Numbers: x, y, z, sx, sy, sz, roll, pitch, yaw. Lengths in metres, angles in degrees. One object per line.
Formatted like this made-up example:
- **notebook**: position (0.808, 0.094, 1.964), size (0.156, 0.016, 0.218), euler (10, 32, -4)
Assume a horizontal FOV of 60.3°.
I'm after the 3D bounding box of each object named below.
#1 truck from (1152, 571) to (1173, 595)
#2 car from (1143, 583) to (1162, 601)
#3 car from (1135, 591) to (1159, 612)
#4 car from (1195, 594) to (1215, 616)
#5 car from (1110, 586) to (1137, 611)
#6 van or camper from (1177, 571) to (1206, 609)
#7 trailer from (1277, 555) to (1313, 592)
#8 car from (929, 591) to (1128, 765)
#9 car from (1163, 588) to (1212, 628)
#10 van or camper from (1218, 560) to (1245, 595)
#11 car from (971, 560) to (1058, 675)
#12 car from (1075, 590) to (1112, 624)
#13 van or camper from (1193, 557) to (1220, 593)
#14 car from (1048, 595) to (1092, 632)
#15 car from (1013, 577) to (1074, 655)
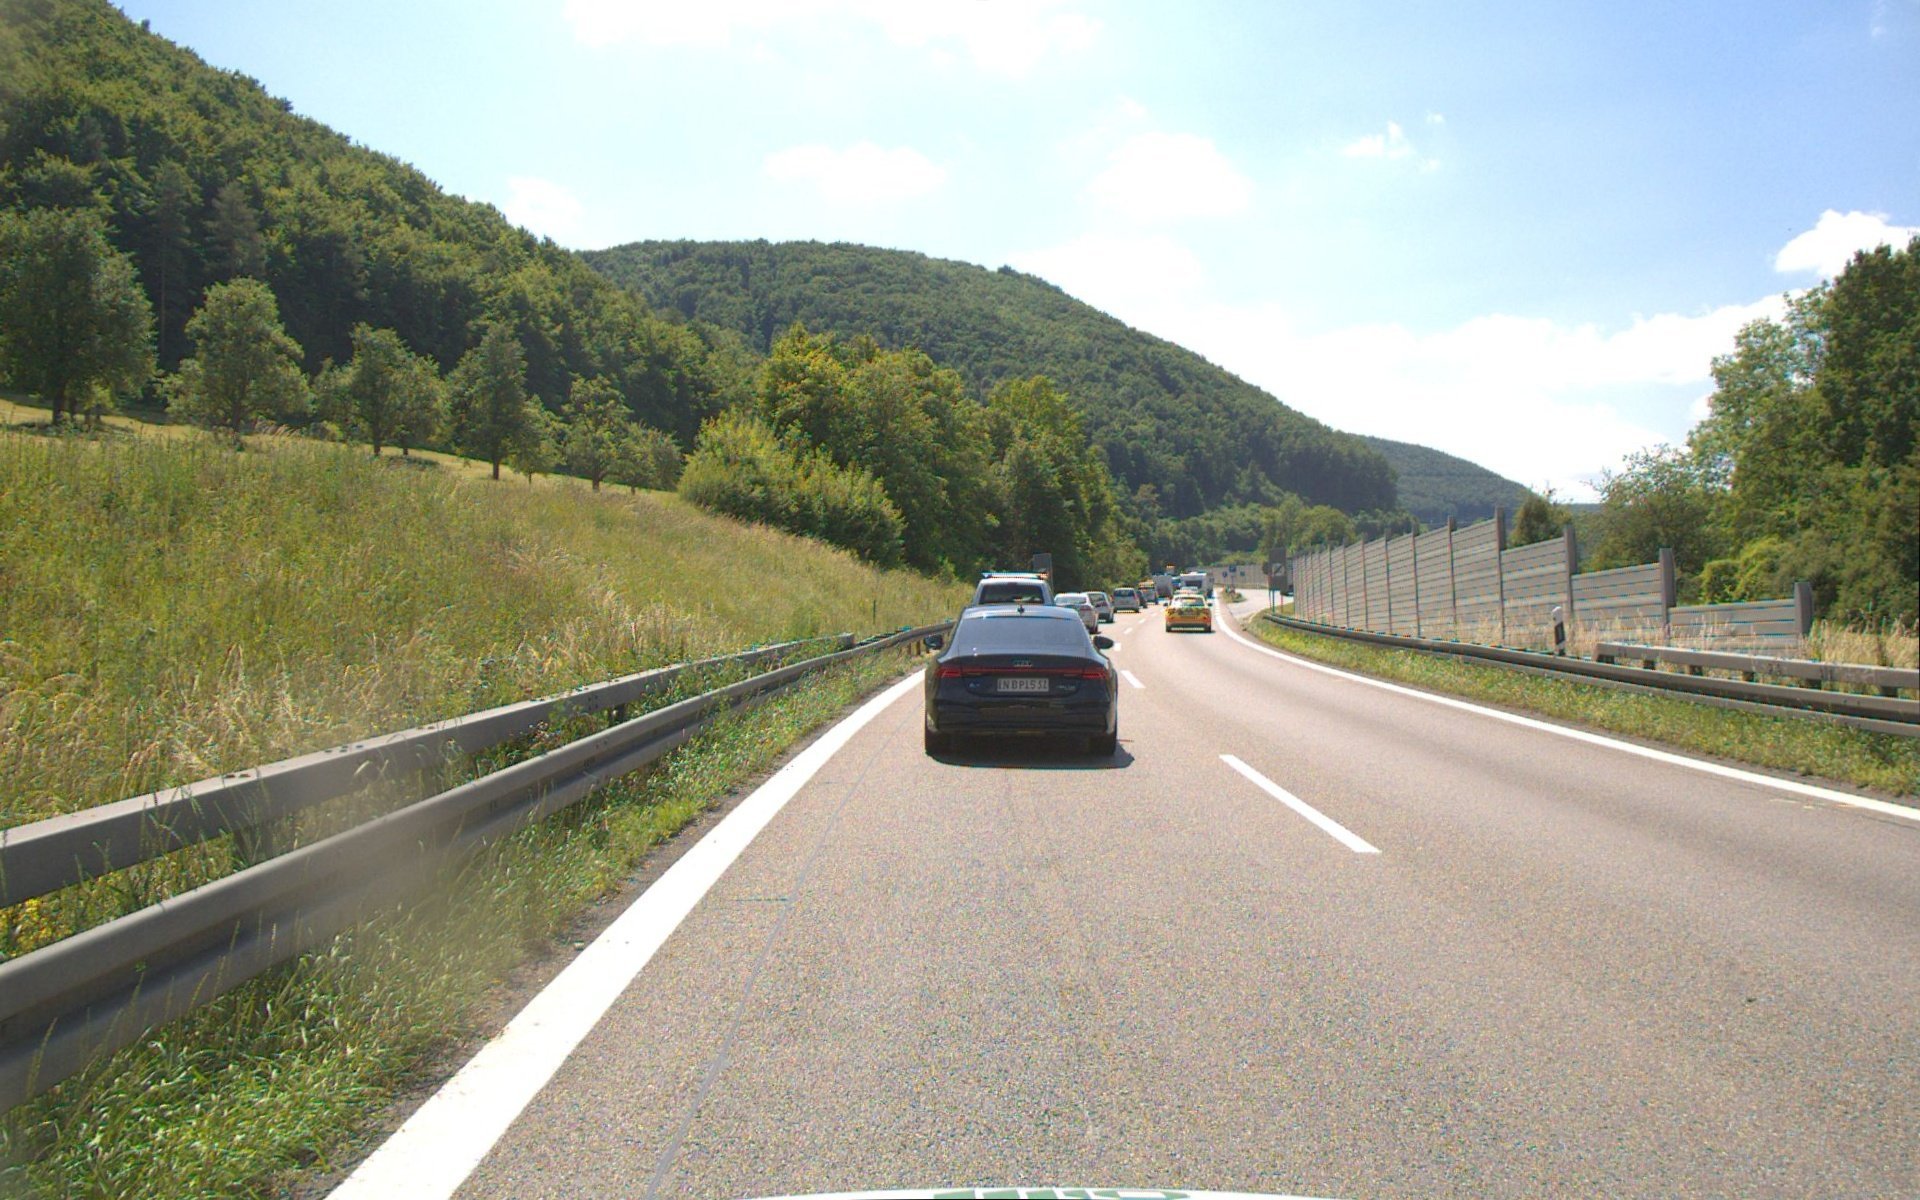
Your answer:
- **truck**: position (23.473, -1.999, 191.697), size (2.020, 2.651, 5.619), euler (2, 0, 10)
- **car**: position (17.546, -0.758, 150.436), size (1.488, 1.580, 3.517), euler (2, 0, 10)
- **car**: position (14.577, 0.120, 128.897), size (1.488, 1.580, 3.517), euler (2, 0, 11)
- **car**: position (18.915, 0.383, 127.505), size (1.456, 1.598, 3.003), euler (1, 0, 9)
- **car**: position (10.826, -0.086, 109.446), size (1.488, 1.580, 3.517), euler (2, 0, 10)
- **van or camper**: position (20.224, -0.858, 144.169), size (2.377, 3.210, 5.208), euler (1, 0, 9)
- **trailer**: position (36.757, -2.888, 181.748), size (3.339, 3.968, 11.161), euler (0, 1, 8)
- **car**: position (0.654, 0.694, 16.603), size (1.774, 1.541, 3.515), euler (-1, 0, 1)
- **car**: position (9.051, 0.299, 65.740), size (1.839, 1.525, 4.003), euler (0, 0, 9)
- **van or camper**: position (31.408, -2.606, 191.484), size (2.735, 3.908, 6.171), euler (1, 0, 7)
- **car**: position (1.046, 0.298, 31.194), size (1.489, 2.002, 3.515), euler (2, 0, 2)
- **car**: position (6.540, 0.346, 80.572), size (1.488, 1.580, 3.517), euler (2, 0, 9)
- **van or camper**: position (28.013, -2.807, 188.202), size (2.735, 3.975, 6.171), euler (1, 0, 7)
- **car**: position (4.200, 0.492, 62.690), size (1.489, 1.317, 3.517), euler (1, 0, 6)
- **car**: position (2.181, 0.408, 43.339), size (1.507, 1.959, 3.479), euler (1, 0, 2)
